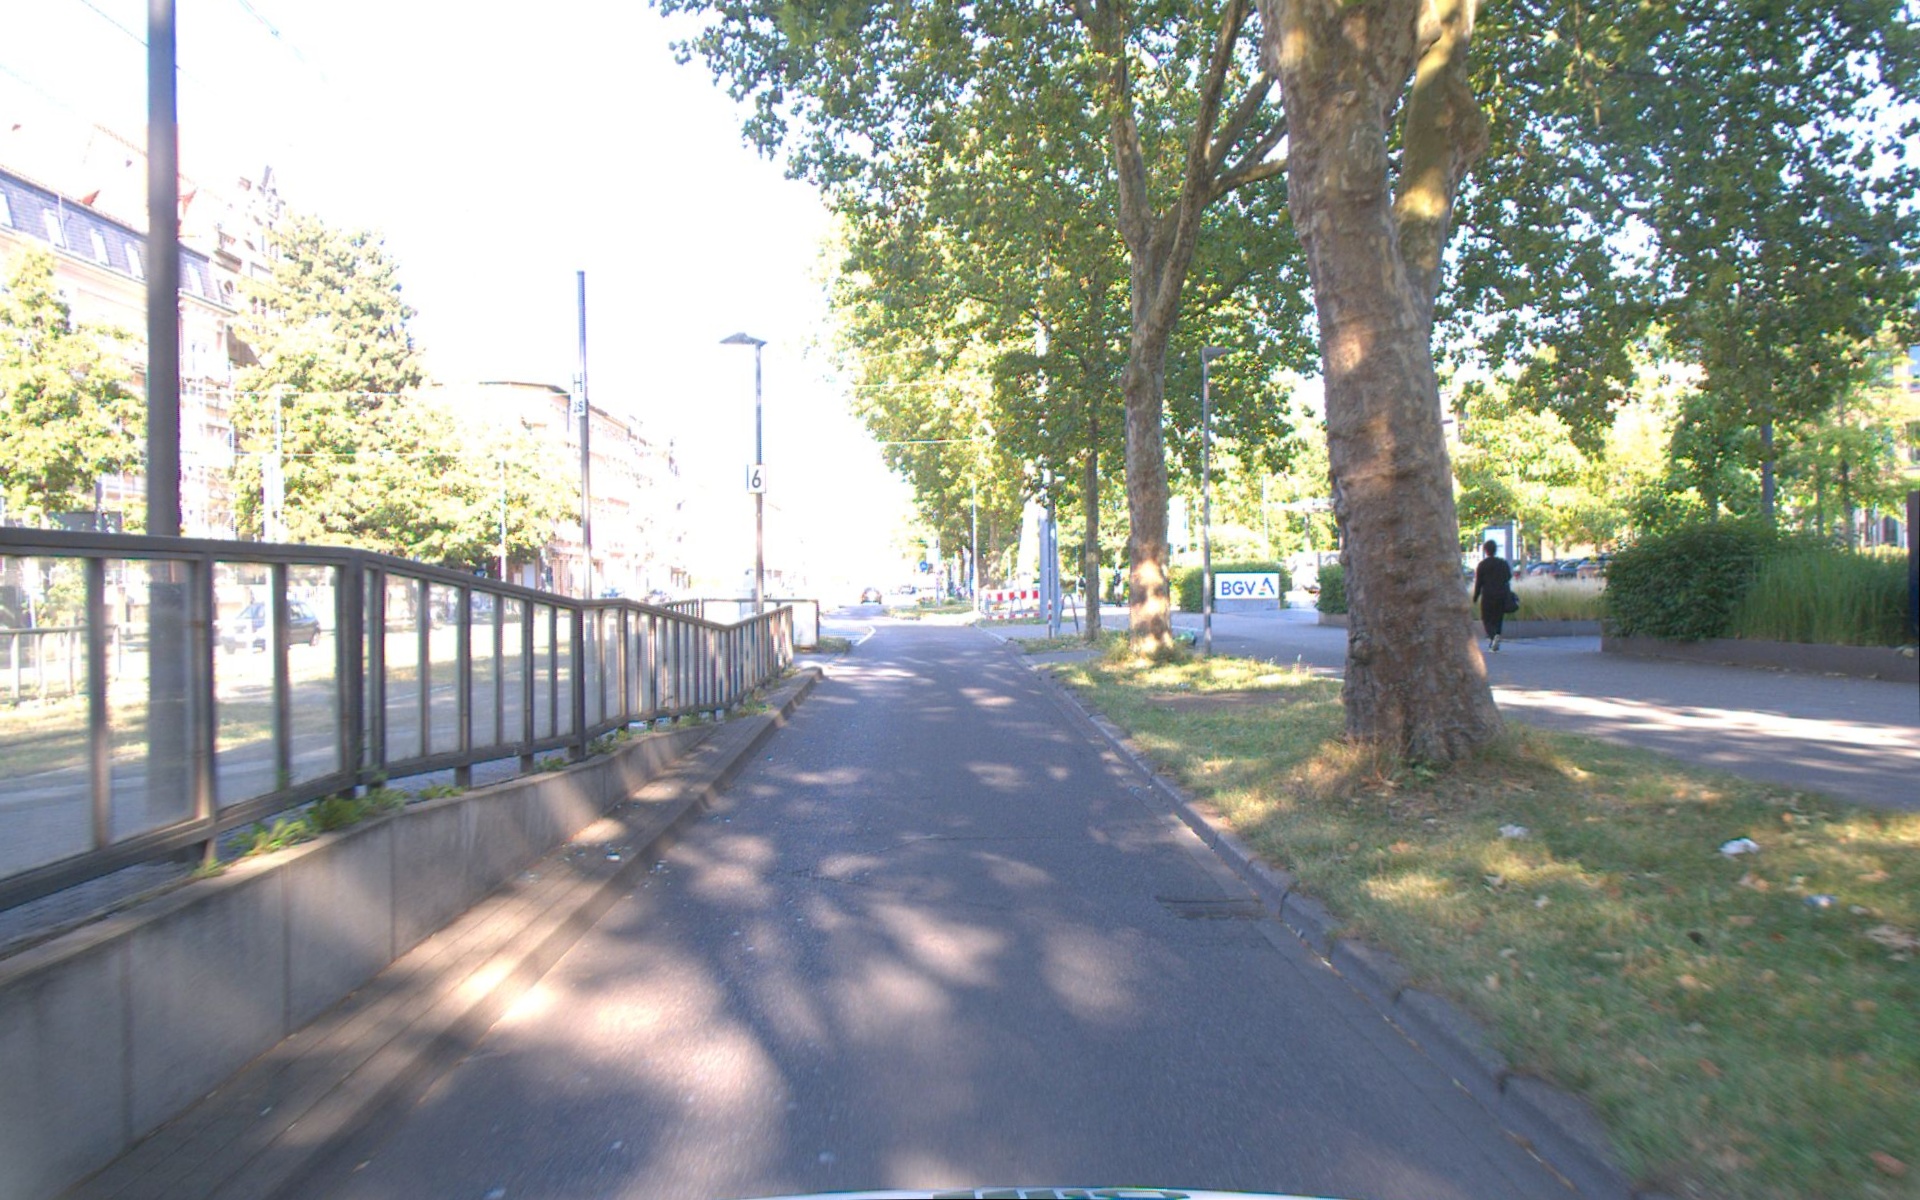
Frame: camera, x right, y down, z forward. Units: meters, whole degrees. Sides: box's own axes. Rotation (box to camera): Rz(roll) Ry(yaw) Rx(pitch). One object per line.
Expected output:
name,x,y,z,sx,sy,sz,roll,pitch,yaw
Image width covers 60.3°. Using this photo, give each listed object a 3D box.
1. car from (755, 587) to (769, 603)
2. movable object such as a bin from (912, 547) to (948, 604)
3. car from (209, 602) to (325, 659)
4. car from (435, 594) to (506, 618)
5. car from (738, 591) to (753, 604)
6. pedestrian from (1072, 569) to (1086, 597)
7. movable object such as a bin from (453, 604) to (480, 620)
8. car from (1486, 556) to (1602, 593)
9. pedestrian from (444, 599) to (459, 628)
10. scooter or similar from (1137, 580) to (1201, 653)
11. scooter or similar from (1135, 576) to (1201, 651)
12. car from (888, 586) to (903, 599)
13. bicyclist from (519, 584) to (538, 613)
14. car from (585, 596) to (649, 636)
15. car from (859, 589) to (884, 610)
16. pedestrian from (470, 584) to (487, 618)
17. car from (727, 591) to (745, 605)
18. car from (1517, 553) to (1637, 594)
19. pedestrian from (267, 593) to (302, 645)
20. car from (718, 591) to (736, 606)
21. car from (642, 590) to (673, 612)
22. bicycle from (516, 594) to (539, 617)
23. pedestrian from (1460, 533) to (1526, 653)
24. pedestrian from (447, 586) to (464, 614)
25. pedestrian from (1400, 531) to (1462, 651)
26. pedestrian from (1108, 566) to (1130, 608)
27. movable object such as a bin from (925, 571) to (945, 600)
car,-28.732,-0.776,239.869,1.625,2.177,3.524,1,1,-2
movable object such as a bin,-2.951,-2.309,159.498,3.025,5.176,8.889,-4,0,-2
car,-18.751,0.787,44.926,1.573,1.432,3.850,1,0,-1
car,-31.052,0.363,104.874,4.097,1.497,1.998,0,0,27
car,-27.465,-0.308,211.715,1.496,1.588,3.222,1,1,-2
pedestrian,6.692,-0.945,93.189,0.637,1.566,0.783,-2,0,-1
movable object such as a bin,-28.305,0.671,94.809,1.220,0.880,1.236,1,0,-4
car,25.510,-1.107,72.272,4.604,1.407,1.962,-3,2,-21
pedestrian,-28.777,0.762,93.575,0.605,1.621,0.797,1,0,-3
scooter or similar,3.786,0.296,29.991,1.030,1.266,0.841,-2,0,1
scooter or similar,3.659,0.235,29.095,1.030,1.266,0.841,-2,0,1
car,-10.026,-1.155,258.440,1.956,1.892,3.993,1,0,-8
bicyclist,-22.814,-0.072,87.452,0.759,1.507,1.133,1,0,-2
car,-20.285,0.960,98.046,1.900,1.950,4.476,9,-1,10
car,-7.372,-0.053,138.102,1.953,1.713,3.999,1,0,-1
pedestrian,-26.549,0.049,91.241,0.637,1.806,0.888,-2,0,-3
car,-27.000,-0.216,199.648,1.706,1.588,3.766,1,1,-2
car,26.083,-1.122,69.903,4.604,1.491,1.951,-3,2,-21
pedestrian,-25.709,0.716,62.946,0.841,1.961,1.086,-2,0,-3
car,-27.477,-0.200,194.874,1.706,1.588,3.766,1,1,-2
car,-26.464,0.045,144.718,1.975,1.784,4.557,1,1,-2
bicycle,-22.828,0.295,87.354,0.759,1.214,1.755,1,0,-2
pedestrian,7.726,-0.107,23.998,0.637,1.685,0.783,-2,0,-1
pedestrian,-27.938,-0.001,91.579,0.637,1.566,0.783,-2,0,-3
pedestrian,6.832,-0.133,24.016,0.615,1.685,0.739,-2,0,-1
pedestrian,7.093,-0.590,73.916,0.789,1.824,1.109,-2,0,-1
movable object such as a bin,-2.716,-1.592,181.673,1.929,3.065,4.795,-4,0,-2
